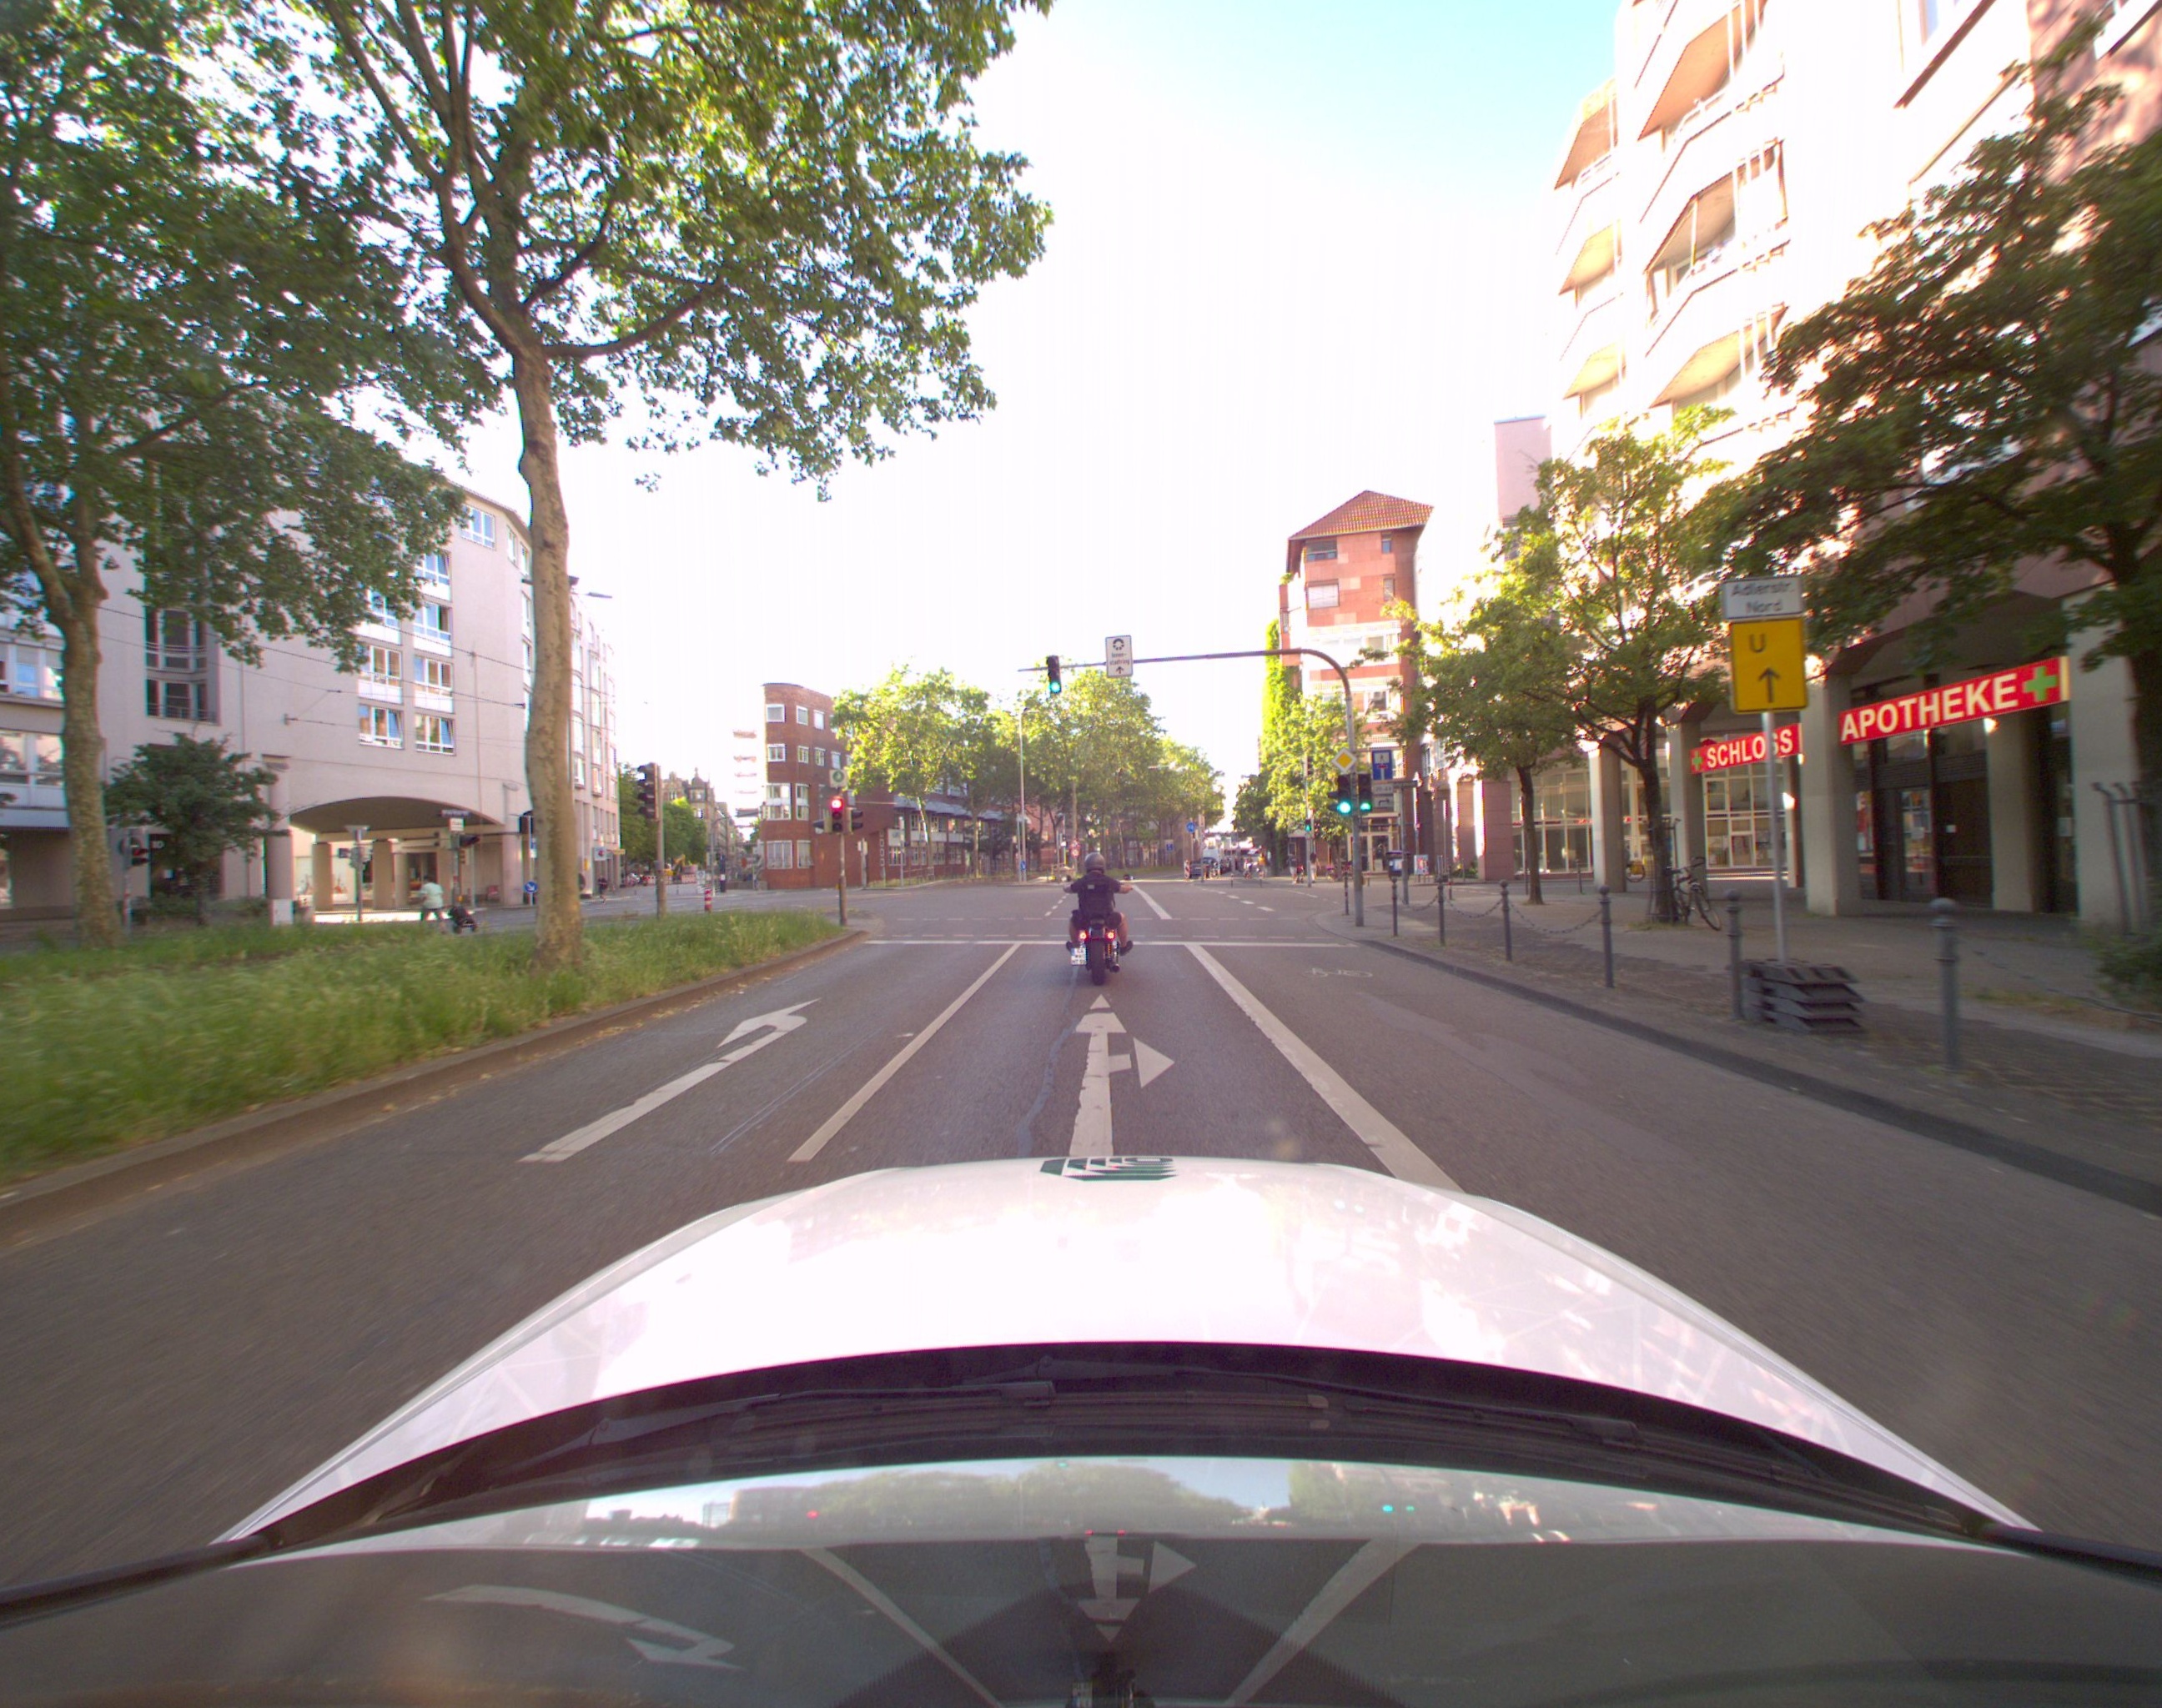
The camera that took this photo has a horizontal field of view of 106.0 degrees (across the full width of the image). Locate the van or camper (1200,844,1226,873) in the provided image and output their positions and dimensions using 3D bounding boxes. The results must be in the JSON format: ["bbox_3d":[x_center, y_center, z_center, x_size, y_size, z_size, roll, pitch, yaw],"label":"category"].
[{"bbox_3d":[12.533,0.404,77.236,2.035,2.540,5.793,-2,0,12],"label":"van or camper"}]

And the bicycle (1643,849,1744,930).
[{"bbox_3d":[10.068,0.542,13.467,0.617,1.225,1.934,-2,0,15],"label":"bicycle"}]

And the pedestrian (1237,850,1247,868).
[{"bbox_3d":[15.118,0.477,76.544,0.759,1.645,0.548,-2,-1,5],"label":"pedestrian"}]

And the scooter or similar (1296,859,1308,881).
[{"bbox_3d":[11.985,0.869,44.169,0.392,1.158,1.252,-2,0,8],"label":"scooter or similar"}]

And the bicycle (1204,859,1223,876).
[{"bbox_3d":[8.755,0.896,53.859,0.736,1.053,1.748,-2,0,-7],"label":"bicycle"}]

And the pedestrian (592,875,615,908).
[{"bbox_3d":[-28.219,2.206,48.119,0.851,1.869,0.753,-3,0,6],"label":"pedestrian"}]

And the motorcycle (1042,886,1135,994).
[{"bbox_3d":[0.140,1.009,10.167,1.013,1.097,2.009,-2,0,3],"label":"motorcycle"}]

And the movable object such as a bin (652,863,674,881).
[{"bbox_3d":[-55.543,2.359,108.232,1.928,2.310,2.776,-2,0,-12],"label":"movable object such as a bin"}]

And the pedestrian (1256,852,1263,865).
[{"bbox_3d":[19.666,0.515,89.787,0.760,1.445,0.782,-1,-1,11],"label":"pedestrian"}]

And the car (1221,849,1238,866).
[{"bbox_3d":[18.347,0.399,100.340,1.823,2.013,4.402,-2,0,12],"label":"car"}]

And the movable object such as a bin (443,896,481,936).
[{"bbox_3d":[-15.812,1.582,20.809,0.506,0.953,0.542,-2,0,15],"label":"movable object such as a bin"}]

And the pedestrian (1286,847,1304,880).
[{"bbox_3d":[11.577,0.527,44.045,0.783,1.763,0.610,-2,0,0],"label":"pedestrian"}]

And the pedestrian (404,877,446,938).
[{"bbox_3d":[-16.570,1.339,20.572,0.613,1.503,0.537,-2,0,15],"label":"pedestrian"}]

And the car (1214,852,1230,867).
[{"bbox_3d":[15.613,0.587,89.821,1.610,1.610,3.785,-2,0,11],"label":"car"}]

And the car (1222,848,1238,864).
[{"bbox_3d":[19.452,0.282,106.346,1.823,2.013,4.402,-2,0,12],"label":"car"}]

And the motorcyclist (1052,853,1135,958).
[{"bbox_3d":[0.170,0.622,10.243,1.007,1.263,0.774,0,0,2],"label":"motorcyclist"}]

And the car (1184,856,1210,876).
[{"bbox_3d":[8.700,0.877,60.757,1.610,1.302,4.325,-2,0,11],"label":"car"}]

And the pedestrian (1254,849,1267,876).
[{"bbox_3d":[11.770,0.546,53.383,0.697,1.733,0.769,-2,0,6],"label":"pedestrian"}]

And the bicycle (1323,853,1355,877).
[{"bbox_3d":[14.096,0.584,44.580,1.558,1.227,0.579,-2,0,8],"label":"bicycle"}]

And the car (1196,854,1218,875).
[{"bbox_3d":[10.988,0.888,70.853,1.609,1.619,4.500,-2,0,12],"label":"car"}]

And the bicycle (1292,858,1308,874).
[{"bbox_3d":[14.222,0.771,52.842,0.733,0.939,1.755,-2,0,7],"label":"bicycle"}]

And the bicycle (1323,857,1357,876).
[{"bbox_3d":[15.126,0.718,47.578,1.730,1.053,0.744,-2,0,30],"label":"bicycle"}]

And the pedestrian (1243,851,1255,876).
[{"bbox_3d":[11.062,0.614,53.566,0.641,1.578,0.749,-2,0,6],"label":"pedestrian"}]

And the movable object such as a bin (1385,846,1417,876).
[{"bbox_3d":[16.441,0.369,41.846,1.400,1.482,0.875,-2,0,14],"label":"movable object such as a bin"}]

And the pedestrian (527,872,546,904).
[{"bbox_3d":[-34.988,2.152,52.370,0.838,2.013,0.880,-2,0,-25],"label":"pedestrian"}]

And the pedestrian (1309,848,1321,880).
[{"bbox_3d":[12.504,0.546,43.595,0.456,1.672,0.681,-2,0,8],"label":"pedestrian"}]

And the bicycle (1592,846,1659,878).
[{"bbox_3d":[20.472,0.314,30.664,1.903,1.113,0.806,-2,-1,10],"label":"bicycle"}]

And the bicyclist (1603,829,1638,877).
[{"bbox_3d":[20.319,-0.031,30.685,0.820,1.770,0.790,-2,-1,10],"label":"bicyclist"}]
